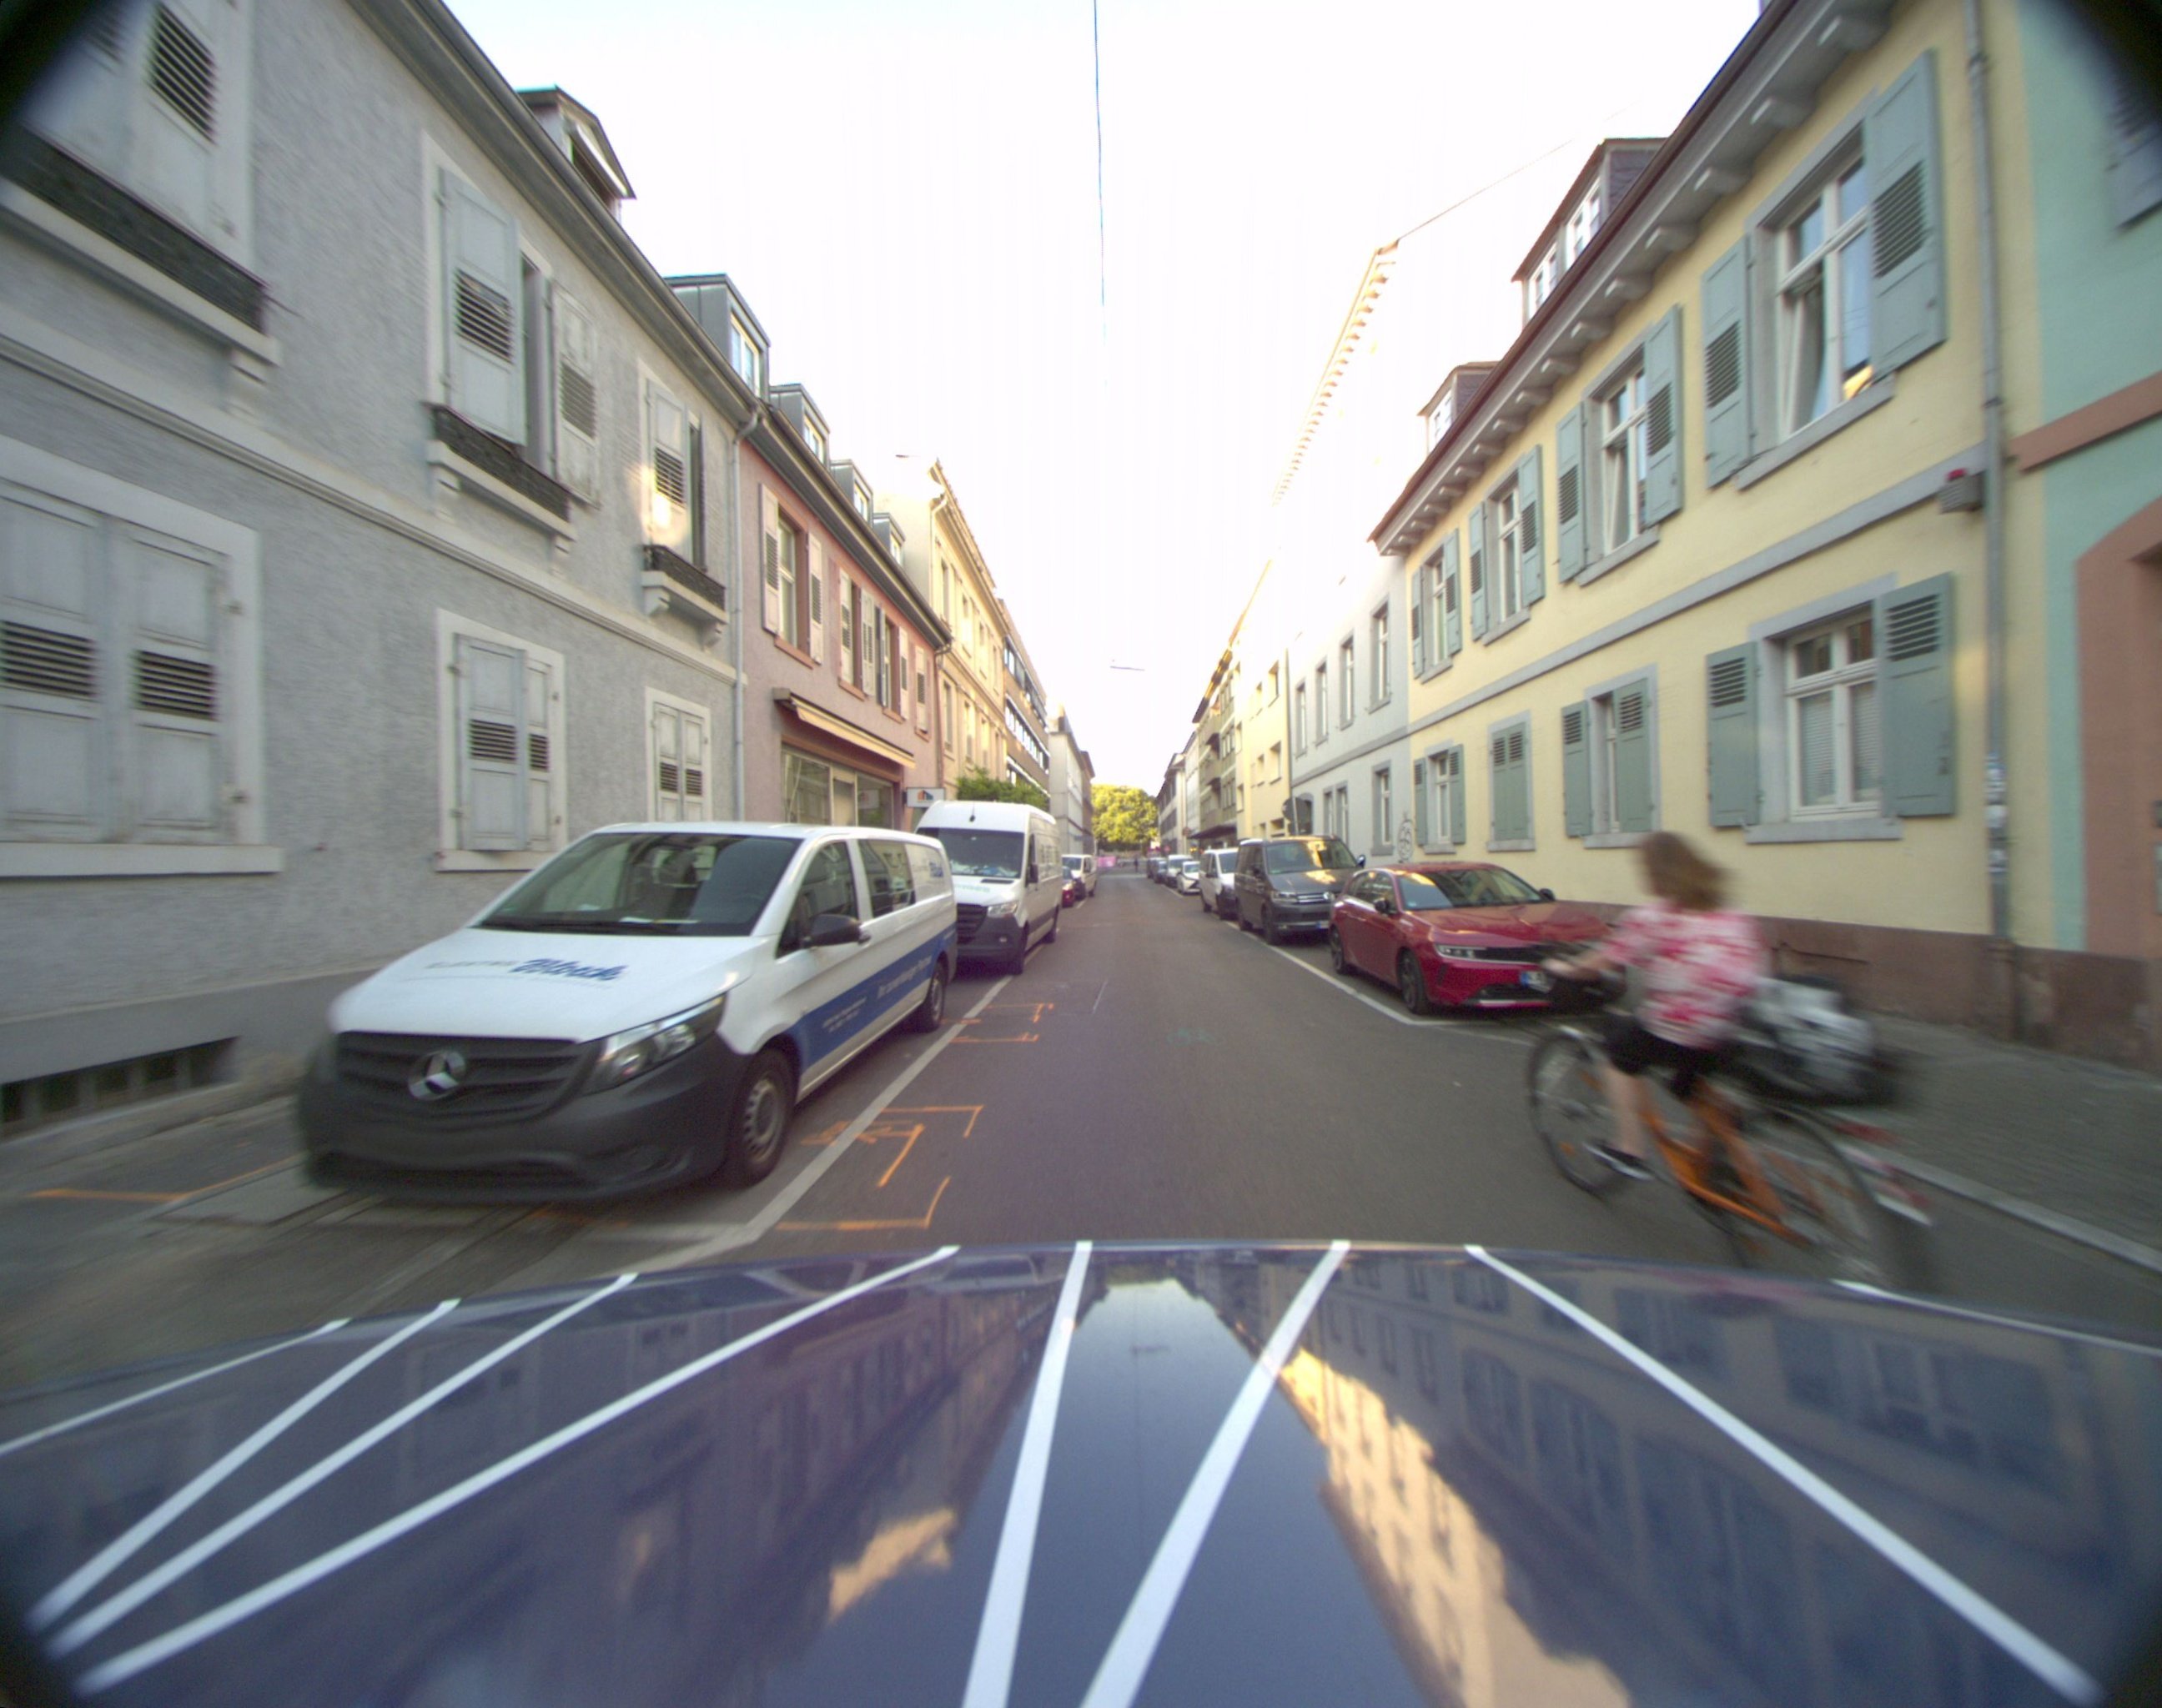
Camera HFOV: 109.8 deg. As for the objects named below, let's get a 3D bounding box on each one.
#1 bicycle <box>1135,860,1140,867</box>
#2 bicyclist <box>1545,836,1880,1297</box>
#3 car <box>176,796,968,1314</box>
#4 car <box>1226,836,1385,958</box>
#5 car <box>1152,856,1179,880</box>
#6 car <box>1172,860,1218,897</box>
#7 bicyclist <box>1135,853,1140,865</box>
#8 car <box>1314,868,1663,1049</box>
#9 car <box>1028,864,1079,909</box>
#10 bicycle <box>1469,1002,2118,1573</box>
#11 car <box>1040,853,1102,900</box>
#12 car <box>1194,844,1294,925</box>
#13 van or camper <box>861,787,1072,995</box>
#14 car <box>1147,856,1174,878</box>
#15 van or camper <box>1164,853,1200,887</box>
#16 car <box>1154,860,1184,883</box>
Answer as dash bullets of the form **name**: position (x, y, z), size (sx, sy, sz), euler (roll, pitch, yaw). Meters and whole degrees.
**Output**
- **bicycle**: position (7.510, 1.286, 100.868), size (0.635, 0.916, 1.780), euler (-2, 0, 4)
- **bicyclist**: position (2.070, 0.638, 2.581), size (0.607, 1.361, 0.621), euler (-2, 0, 6)
- **car**: position (-2.368, 0.756, 5.552), size (1.945, 1.883, 5.318), euler (2, 0, 3)
- **car**: position (4.192, 0.736, 15.065), size (1.867, 2.002, 4.815), euler (-1, 0, 2)
- **car**: position (6.832, 1.119, 61.773), size (1.776, 1.800, 4.511), euler (-2, 0, 2)
- **car**: position (5.106, 1.081, 34.412), size (1.666, 1.440, 3.521), euler (-5, 0, 3)
- **bicyclist**: position (7.481, 0.676, 100.838), size (0.625, 1.630, 1.082), euler (-2, 0, 4)
- **car**: position (4.009, 0.909, 8.405), size (1.769, 1.393, 4.264), euler (-2, 0, 4)
- **car**: position (-0.948, 1.134, 27.992), size (1.659, 1.496, 3.754), euler (-1, 0, 1)
- **bicycle**: position (2.096, 1.170, 2.674), size (0.615, 0.927, 1.887), euler (-2, 0, 5)
- **car**: position (-0.335, 0.919, 33.085), size (1.940, 1.886, 5.280), euler (-1, 0, 7)
- **car**: position (4.451, 0.779, 21.502), size (1.867, 2.002, 5.107), euler (-1, 0, 2)
- **van or camper**: position (-1.507, 0.507, 13.211), size (2.054, 2.622, 7.065), euler (-1, 0, 4)
- **car**: position (6.931, 1.142, 66.910), size (1.881, 1.800, 4.451), euler (-2, 0, 0)
- **van or camper**: position (5.756, 0.893, 43.692), size (1.776, 1.837, 4.180), euler (-1, 0, 4)
- **car**: position (5.905, 1.178, 51.321), size (1.628, 1.407, 3.981), euler (-2, 0, 2)
